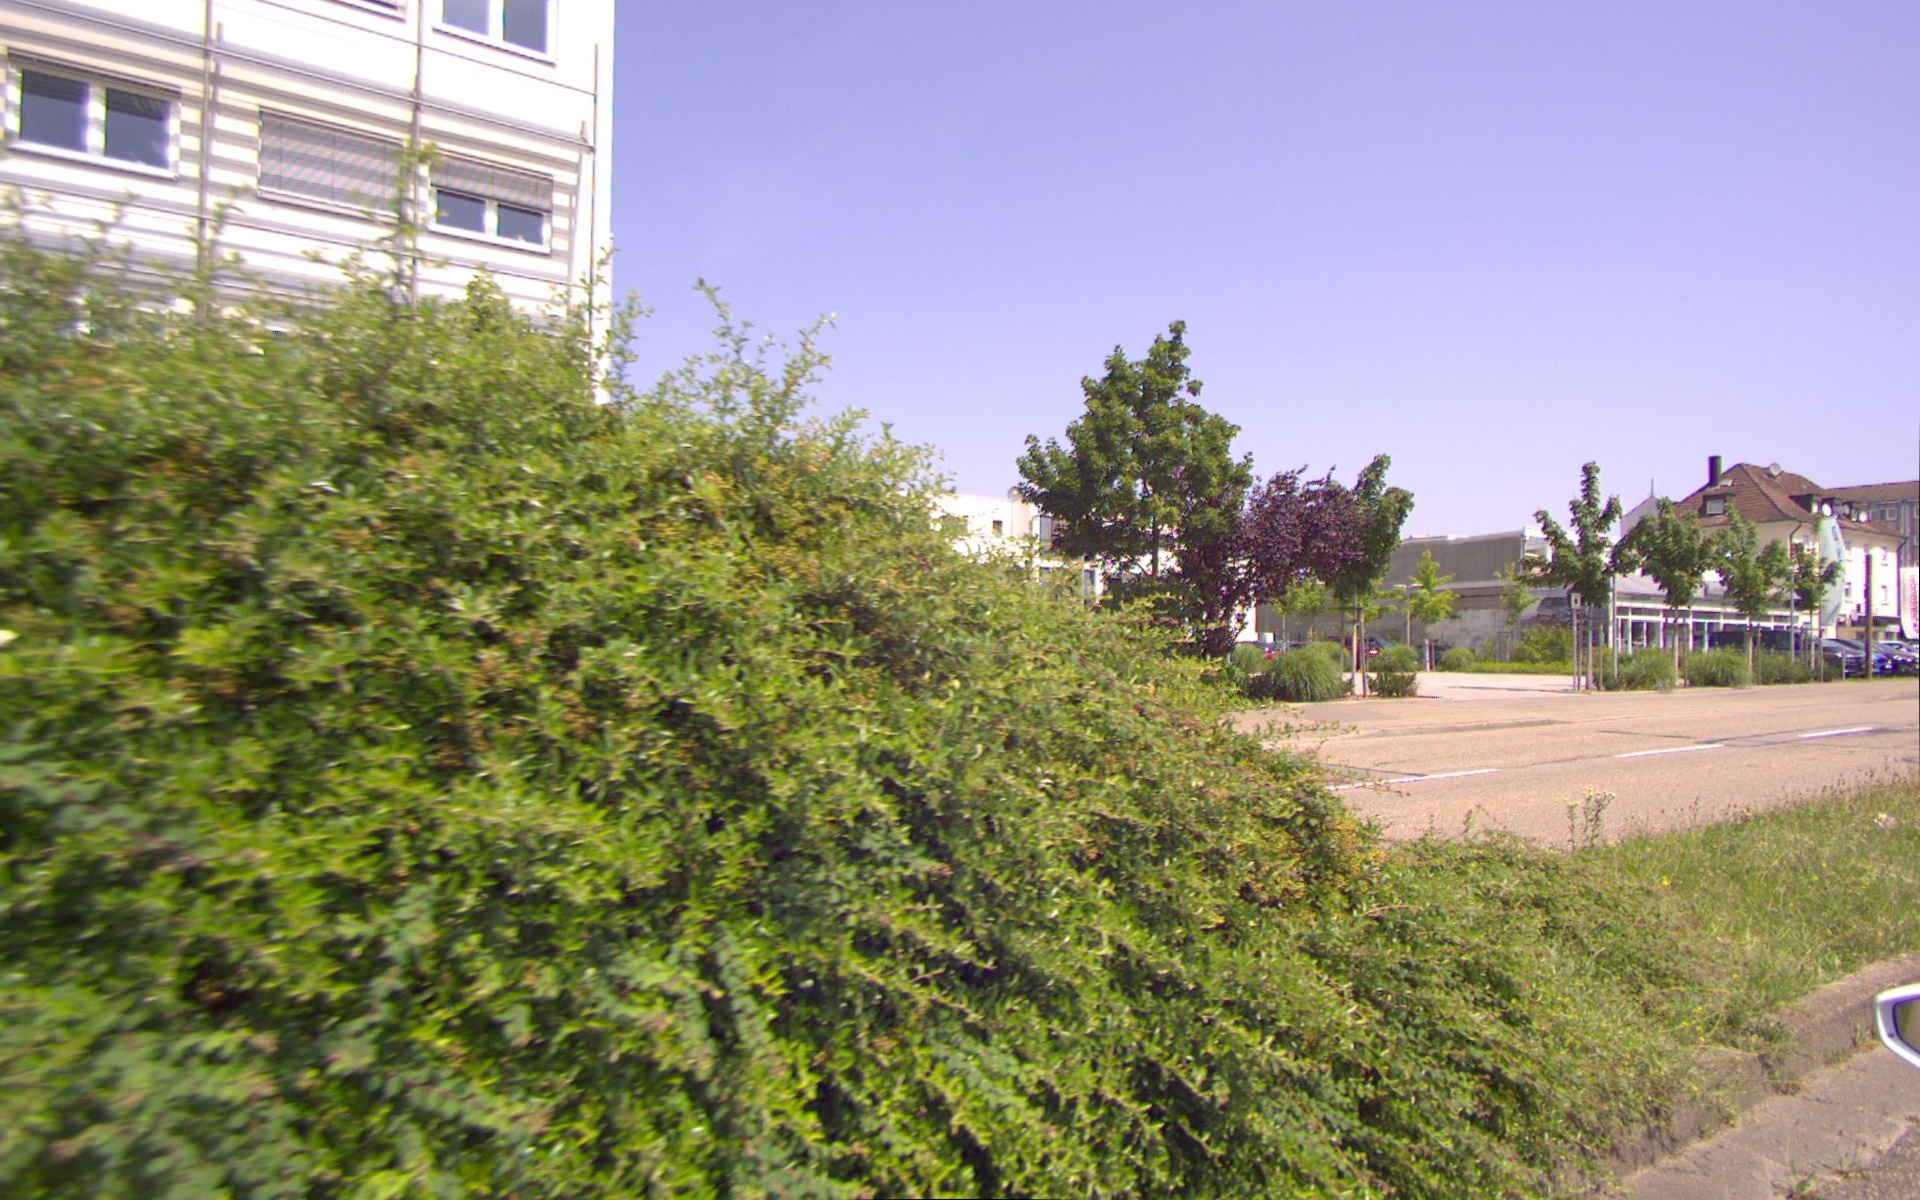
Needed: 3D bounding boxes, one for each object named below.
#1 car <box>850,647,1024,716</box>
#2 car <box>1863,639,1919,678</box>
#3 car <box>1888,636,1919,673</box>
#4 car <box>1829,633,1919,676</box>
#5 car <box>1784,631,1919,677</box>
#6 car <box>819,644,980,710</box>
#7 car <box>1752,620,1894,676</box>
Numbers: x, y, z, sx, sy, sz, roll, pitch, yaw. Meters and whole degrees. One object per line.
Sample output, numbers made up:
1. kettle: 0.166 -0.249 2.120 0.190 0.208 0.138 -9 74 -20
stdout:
1. car: -0.548 2.049 25.074 3.955 1.567 1.761 4 -3 -31
2. car: 44.828 2.781 46.601 1.979 1.706 3.963 4 -2 -33
3. car: 48.591 2.764 49.499 3.932 1.753 1.903 2 -2 34
4. car: 42.151 2.487 45.408 1.917 1.751 3.963 4 -2 -33
5. car: 37.297 2.239 42.028 1.869 1.686 3.963 4 -2 -33
6. car: -1.616 2.090 27.188 3.955 1.572 1.745 4 -2 -31
7. car: 35.010 1.901 40.830 1.979 2.040 3.963 4 -2 -33
